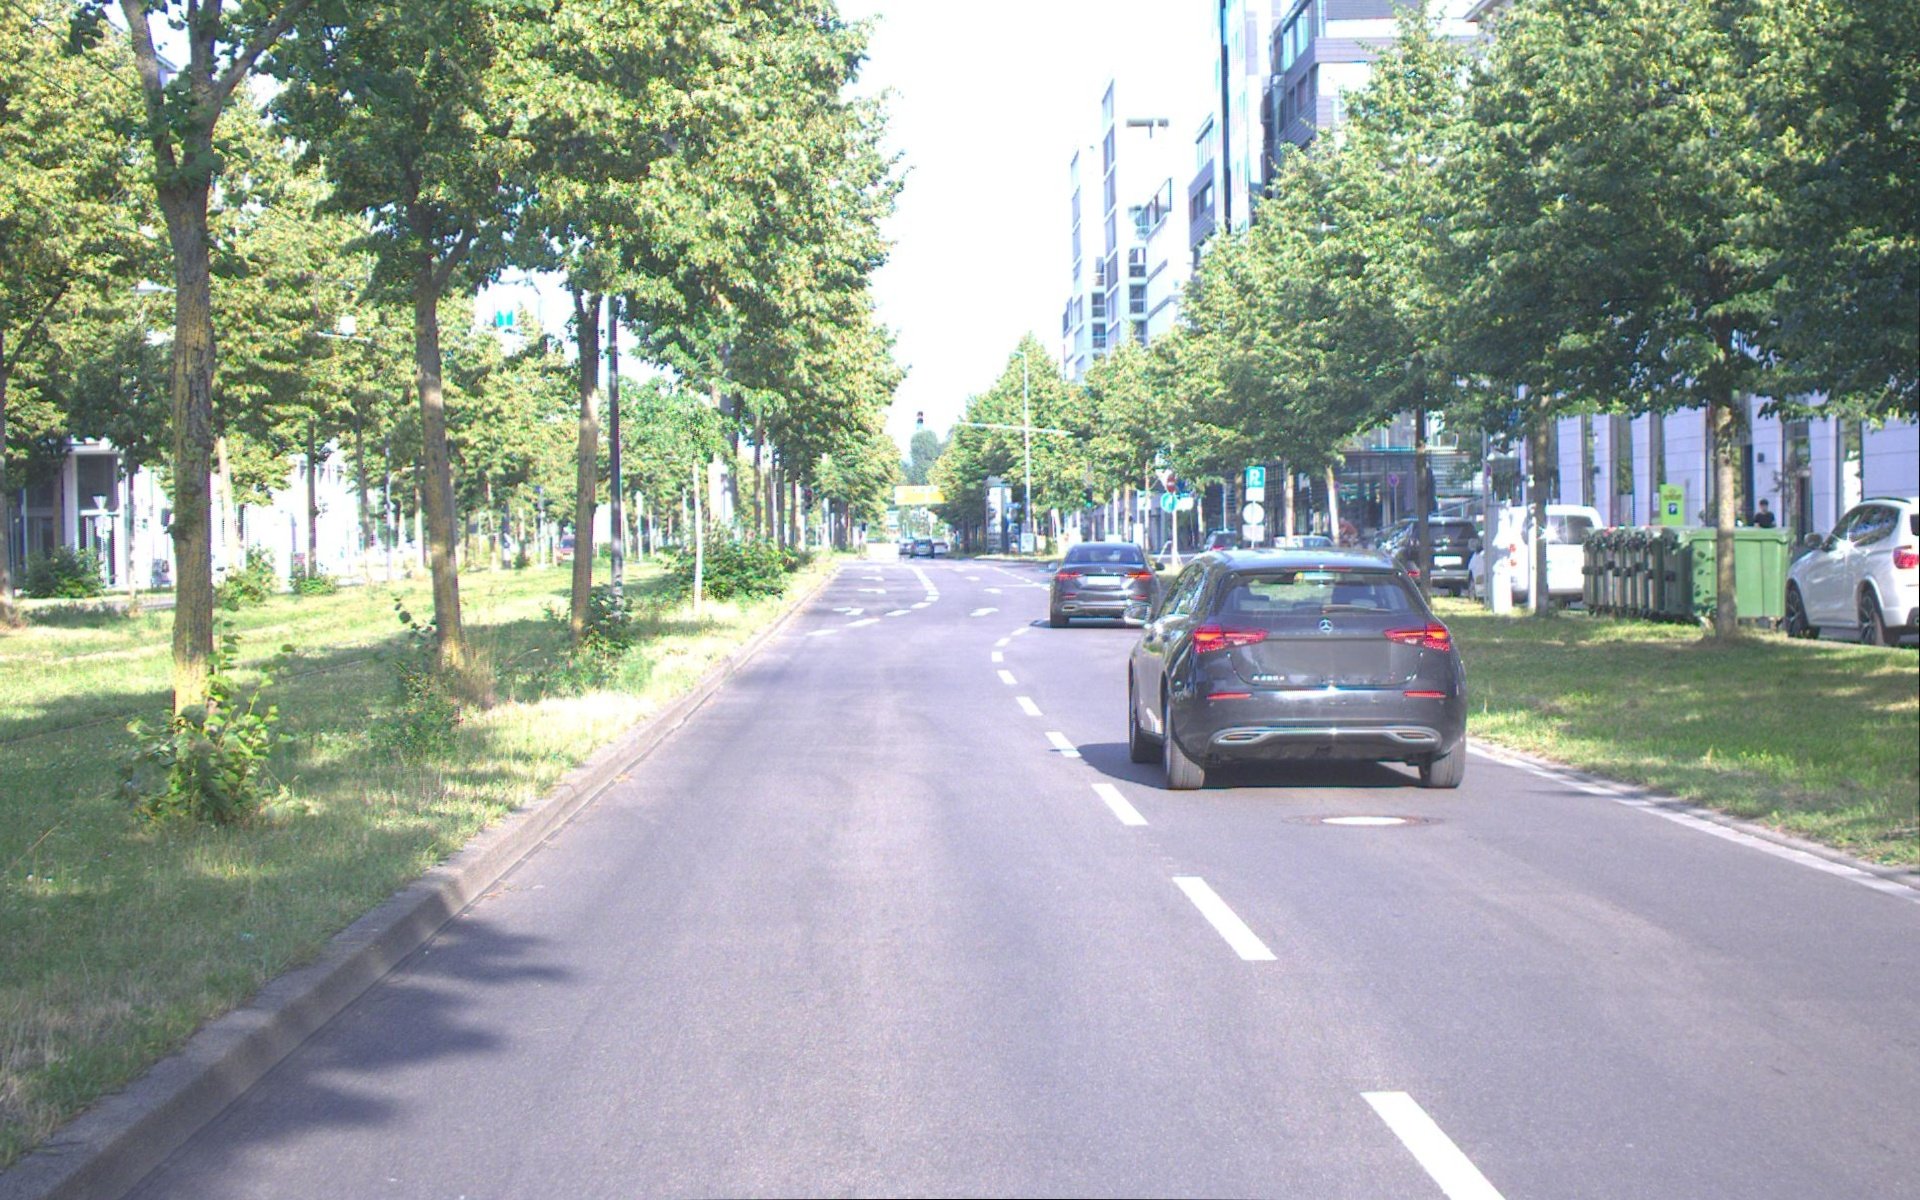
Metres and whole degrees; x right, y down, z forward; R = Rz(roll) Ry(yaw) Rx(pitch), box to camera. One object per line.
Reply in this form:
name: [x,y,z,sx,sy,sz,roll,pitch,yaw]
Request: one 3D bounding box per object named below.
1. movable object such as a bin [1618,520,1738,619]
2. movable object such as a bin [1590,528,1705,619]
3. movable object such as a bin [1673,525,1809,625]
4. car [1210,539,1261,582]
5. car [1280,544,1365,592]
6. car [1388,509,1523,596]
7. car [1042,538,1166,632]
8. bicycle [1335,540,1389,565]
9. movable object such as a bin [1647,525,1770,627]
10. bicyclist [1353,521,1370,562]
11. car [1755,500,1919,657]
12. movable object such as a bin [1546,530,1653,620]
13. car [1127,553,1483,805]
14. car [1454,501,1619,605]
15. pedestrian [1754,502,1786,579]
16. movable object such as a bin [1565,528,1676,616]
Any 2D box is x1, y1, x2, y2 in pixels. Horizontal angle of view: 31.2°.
movable object such as a bin: [9.692,-0.413,46.454,1.277,1.313,1.191,1,0,-4]
movable object such as a bin: [9.549,-0.368,47.812,1.277,1.232,1.191,1,0,-4]
movable object such as a bin: [9.920,-0.322,43.646,1.400,1.232,1.334,1,1,26]
car: [9.053,-1.288,113.104,1.607,1.366,4.157,1,1,4]
car: [9.690,-0.849,92.120,1.708,1.238,3.906,1,1,-2]
car: [10.249,-1.019,71.455,1.897,1.702,4.679,1,2,-3]
car: [2.399,-0.265,58.023,1.859,1.519,3.786,1,1,-1]
bicycle: [16.522,-1.949,141.330,2.134,1.009,0.571,1,0,-5]
movable object such as a bin: [9.811,-0.315,45.113,1.277,1.297,1.191,1,0,-4]
bicyclist: [16.506,-2.407,141.317,0.574,1.701,0.541,1,0,-5]
car: [10.399,-0.282,38.110,1.730,1.624,4.851,-1,1,-4]
movable object such as a bin: [9.379,-0.371,50.471,1.277,1.287,1.178,1,0,-4]
car: [2.070,0.431,21.642,1.774,1.419,3.961,1,1,-1]
car: [9.832,-0.797,58.940,1.827,1.706,4.297,1,1,-4]
pedestrian: [18.495,-1.358,78.489,0.537,1.757,0.646,1,0,-1]
movable object such as a bin: [9.444,-0.406,49.215,1.277,1.232,1.191,1,0,-4]
